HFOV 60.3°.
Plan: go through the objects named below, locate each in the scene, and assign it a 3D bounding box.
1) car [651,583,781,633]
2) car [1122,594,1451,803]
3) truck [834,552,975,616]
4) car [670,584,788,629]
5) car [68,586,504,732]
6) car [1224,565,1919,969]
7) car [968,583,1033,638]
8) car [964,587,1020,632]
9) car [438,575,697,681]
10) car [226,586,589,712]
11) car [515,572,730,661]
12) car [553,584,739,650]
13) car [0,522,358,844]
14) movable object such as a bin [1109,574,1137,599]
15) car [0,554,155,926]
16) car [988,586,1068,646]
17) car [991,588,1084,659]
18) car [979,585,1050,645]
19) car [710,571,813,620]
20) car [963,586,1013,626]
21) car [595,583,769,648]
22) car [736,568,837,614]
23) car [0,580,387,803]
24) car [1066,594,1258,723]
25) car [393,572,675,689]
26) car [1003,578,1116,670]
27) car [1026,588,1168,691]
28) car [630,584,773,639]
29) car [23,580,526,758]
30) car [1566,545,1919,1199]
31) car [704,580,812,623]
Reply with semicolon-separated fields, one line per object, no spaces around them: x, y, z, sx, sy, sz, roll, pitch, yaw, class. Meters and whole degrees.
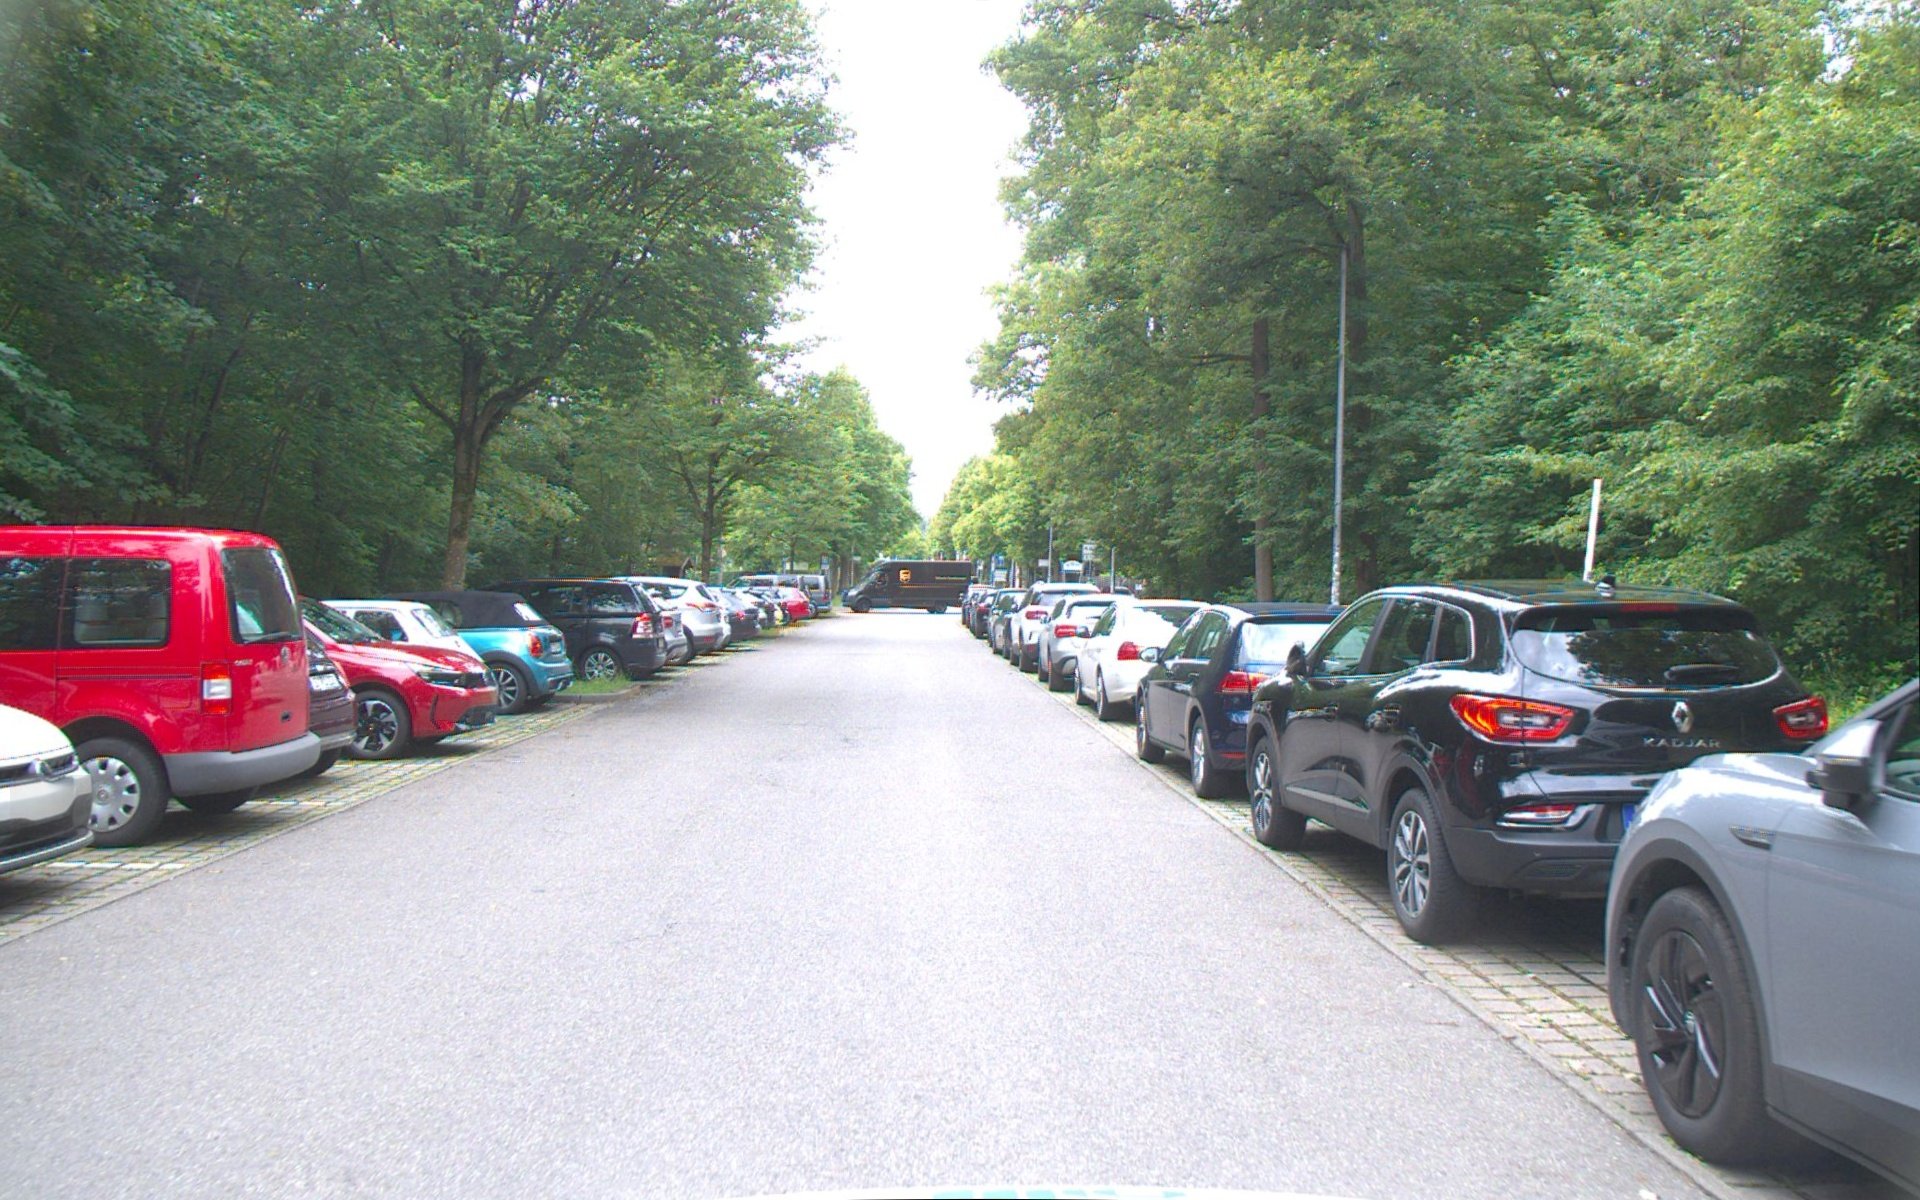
-7.793;0.230;53.021;3.906;1.463;1.714;2;0;-2;car
2.593;0.706;14.313;1.701;1.460;4.743;1;0;-3;car
-3.056;-0.836;89.681;7.121;3.292;3.430;1;0;-13;truck
-8.090;0.217;58.063;3.906;1.463;1.617;2;0;-2;car
-7.057;0.590;17.625;3.906;1.473;1.770;0;0;-2;car
2.817;0.652;8.779;1.802;1.587;4.420;1;0;-4;car
1.242;0.309;52.328;1.701;1.616;4.380;2;0;-3;car
1.082;0.301;57.665;1.701;1.457;4.500;1;0;-2;car
-6.508;0.448;27.746;3.906;1.691;1.814;0;0;-1;car
-6.770;0.576;20.535;3.904;1.473;1.696;0;0;1;car
-6.582;0.305;32.586;3.907;1.691;1.813;0;0;-3;car
-7.111;0.373;37.717;3.905;1.460;1.648;0;0;0;car
-6.062;0.466;10.381;3.907;1.846;1.817;0;0;-2;car
9.660;-0.796;97.960;1.061;1.468;1.277;0;-1;44;movable object such as a bin
-6.136;0.599;7.708;3.905;1.625;1.741;0;0;0;car
1.719;0.379;43.191;1.701;1.450;4.152;2;0;-3;car
1.738;0.501;38.451;1.701;1.500;4.603;2;0;-3;car
1.534;0.392;47.673;1.701;1.595;4.006;2;0;-3;car
-7.833;-0.172;65.497;3.906;1.895;1.813;0;0;-2;car
1.063;0.223;64.474;1.701;1.457;4.500;1;0;-2;car
-6.700;0.367;40.099;3.905;1.460;1.677;1;1;0;car
-7.862;-0.406;75.288;4.412;2.013;1.890;1;0;-3;car
-6.549;0.622;12.348;3.906;1.542;1.817;0;0;-2;car
2.457;0.664;21.131;1.701;1.431;4.425;1;0;-3;car
-6.427;0.438;25.280;3.908;1.691;1.695;0;0;-3;car
1.899;0.429;33.041;1.701;1.672;5.069;1;0;-3;car
2.154;0.574;27.203;1.701;1.505;4.767;1;0;-3;car
-7.482;0.322;48.099;3.907;1.493;1.714;1;1;-2;car
-6.209;0.596;15.321;3.906;1.542;1.770;0;0;-2;car
3.032;0.707;3.198;1.864;1.614;4.478;1;0;-3;car
-7.637;0.057;62.752;3.908;1.501;1.778;2;0;-4;car
